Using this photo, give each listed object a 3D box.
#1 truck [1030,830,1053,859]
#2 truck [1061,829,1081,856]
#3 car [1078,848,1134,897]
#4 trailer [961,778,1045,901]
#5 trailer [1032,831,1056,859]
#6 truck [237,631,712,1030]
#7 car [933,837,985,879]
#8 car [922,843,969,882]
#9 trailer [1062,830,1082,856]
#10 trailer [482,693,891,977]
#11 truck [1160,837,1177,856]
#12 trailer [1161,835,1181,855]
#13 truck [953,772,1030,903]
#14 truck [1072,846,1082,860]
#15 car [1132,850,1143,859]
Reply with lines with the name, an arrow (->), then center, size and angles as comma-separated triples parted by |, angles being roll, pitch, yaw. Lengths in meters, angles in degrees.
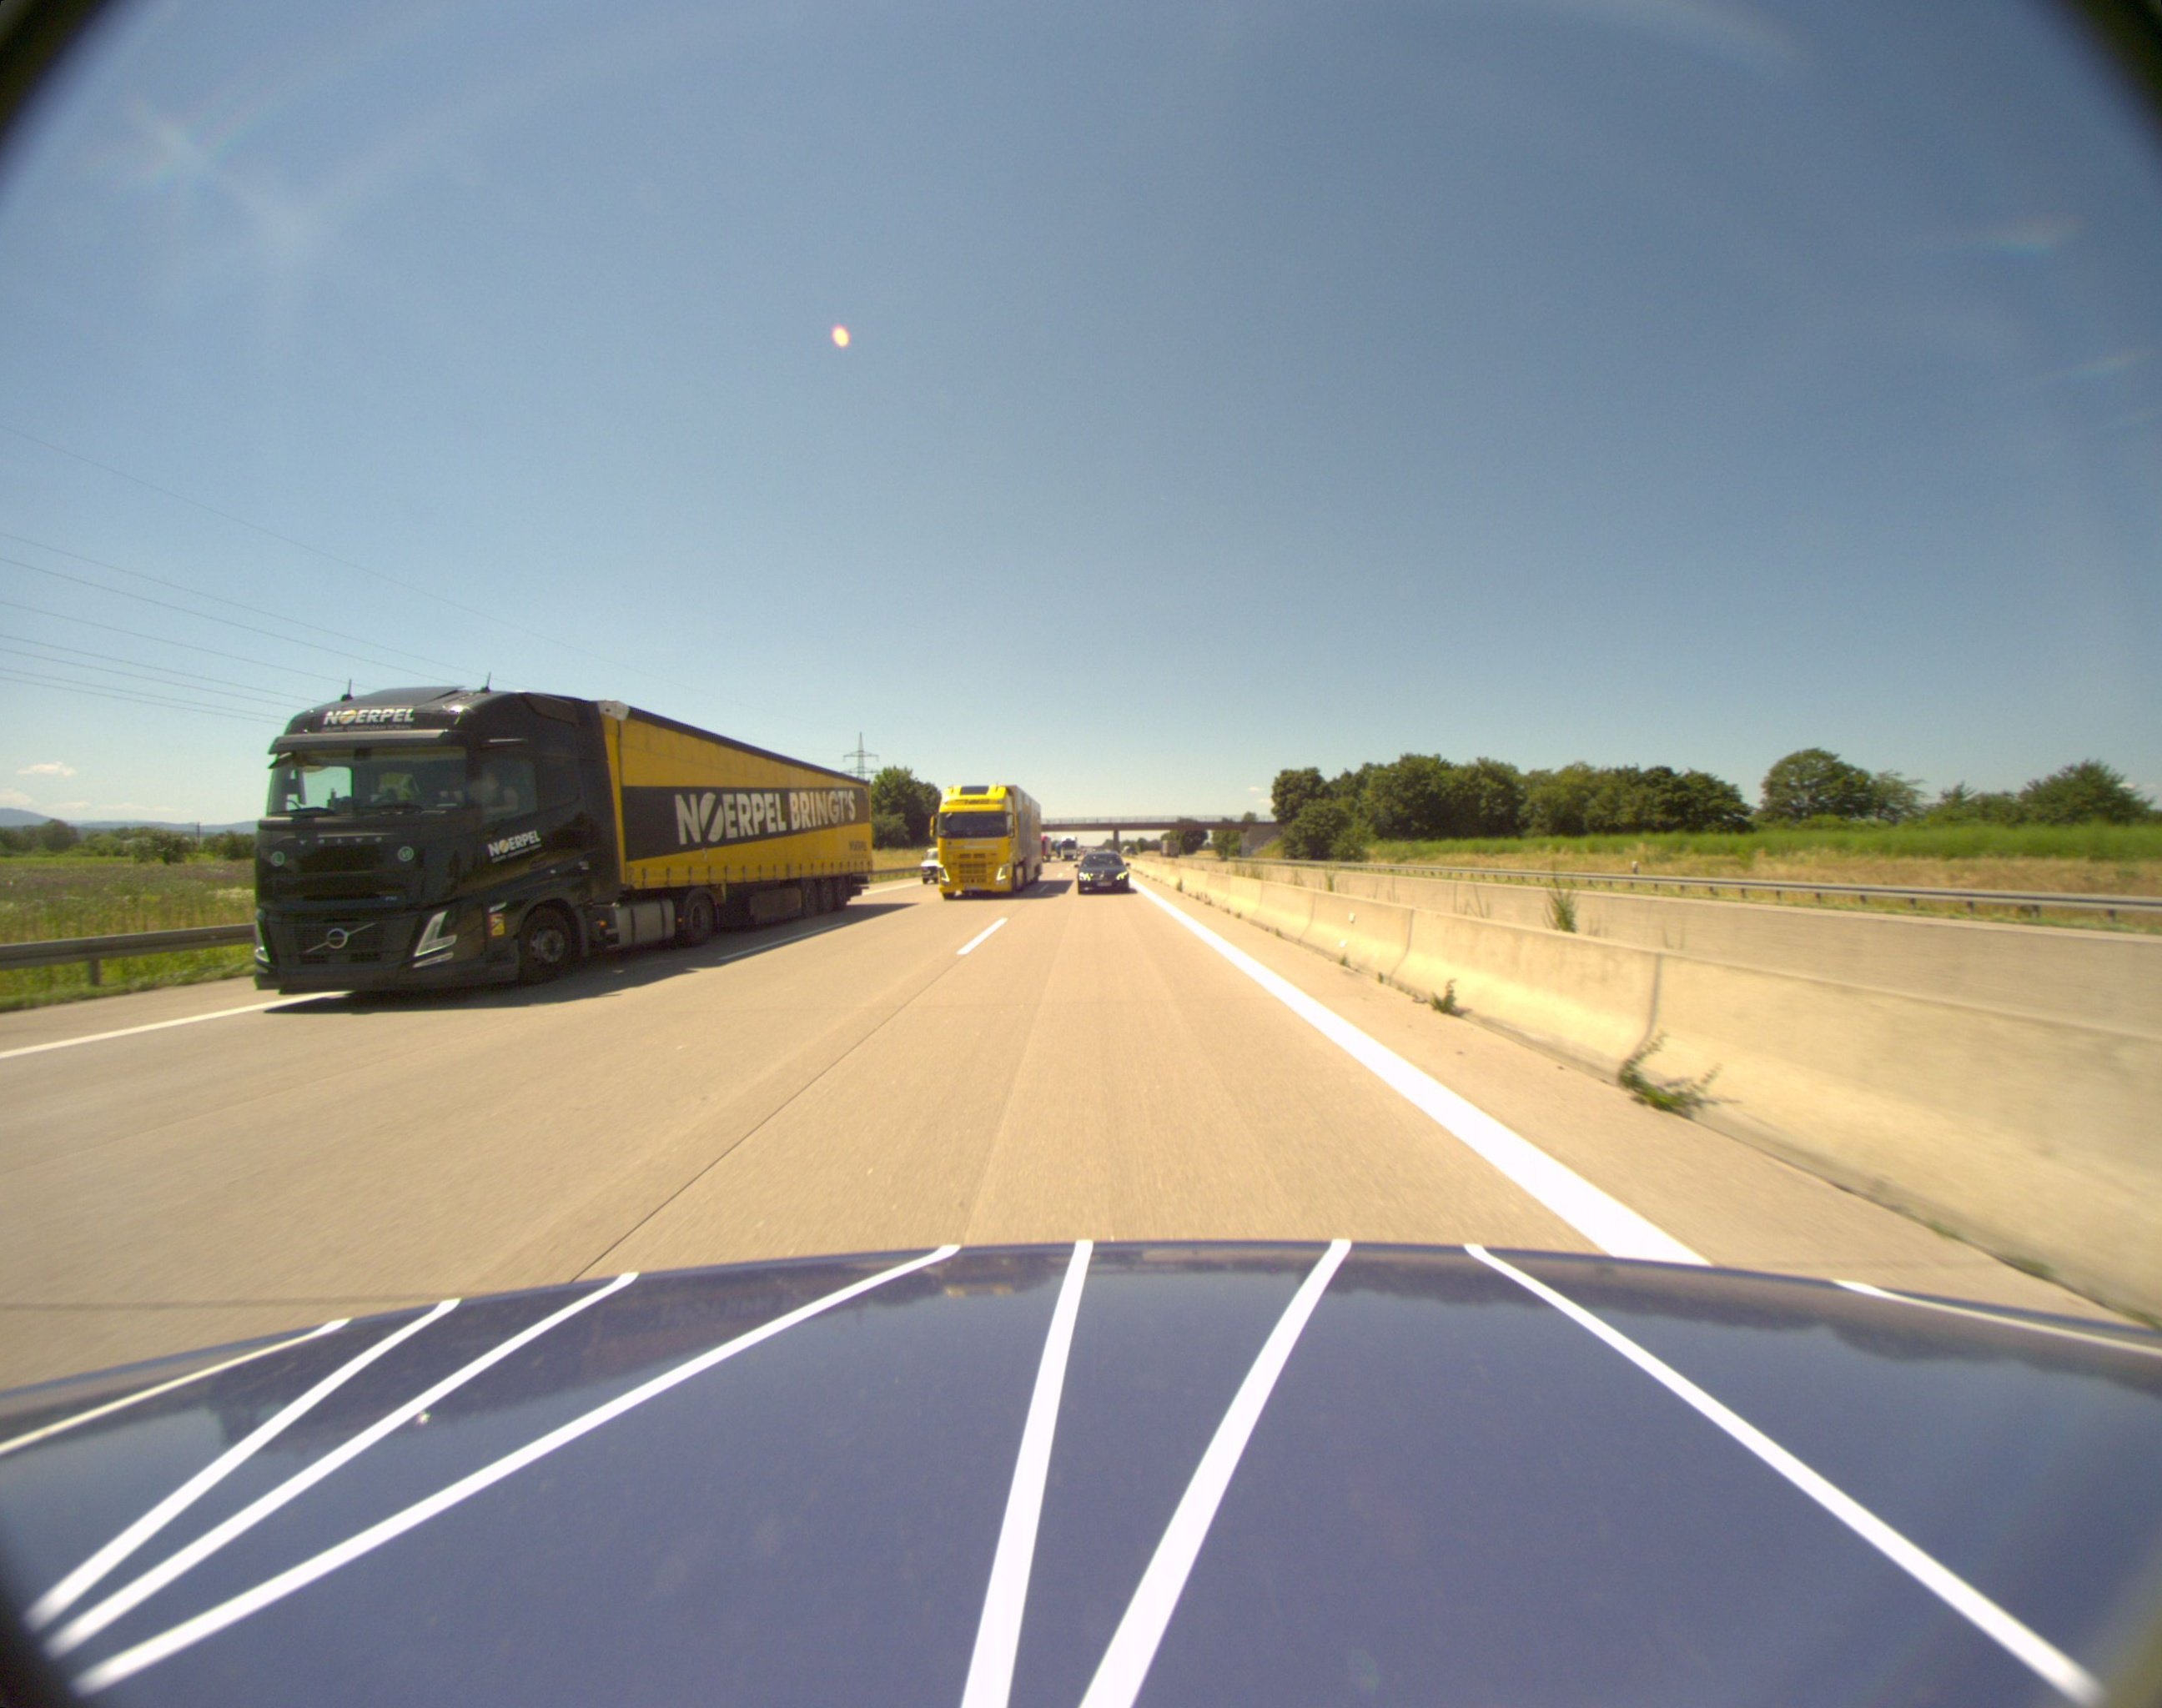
truck -> -5.993, -1.420, 116.045 | 2.960, 4.122, 6.151 | -2, 1, 0
truck -> -1.549, -1.834, 124.174 | 2.959, 4.122, 6.151 | -2, 1, 1
car -> 0.897, 0.613, 27.854 | 1.848, 1.576, 3.939 | -2, 1, 1
trailer -> -3.086, -0.581, 34.238 | 1.998, 4.230, 15.197 | -2, 1, 0
trailer -> -5.867, -1.390, 122.518 | 2.959, 4.122, 13.808 | -2, 1, 1
truck -> -7.835, -0.267, 10.945 | 1.998, 4.169, 5.705 | -2, 1, 1
car -> -7.451, 0.209, 47.002 | 2.139, 2.334, 5.515 | -2, 1, 1
car -> -7.510, 0.441, 42.320 | 1.788, 2.002, 3.819 | -2, 1, 1
trailer -> -1.440, -1.854, 129.533 | 2.959, 4.122, 12.024 | -2, 1, 1
trailer -> -7.723, -0.356, 18.705 | 1.998, 4.169, 14.744 | -2, 1, 1
truck -> 19.789, -1.694, 171.789 | 2.989, 4.067, 6.464 | 1, 1, 1
trailer -> 19.700, -1.989, 166.539 | 2.989, 4.066, 11.604 | 1, 1, 1
truck -> -3.128, -0.575, 27.610 | 1.998, 4.230, 5.194 | -2, 1, 0
truck -> -1.310, -0.379, 245.412 | 2.959, 4.122, 10.016 | -2, 1, 1
car -> 12.342, 0.013, 166.517 | 1.998, 1.851, 5.466 | -2, 1, 1
